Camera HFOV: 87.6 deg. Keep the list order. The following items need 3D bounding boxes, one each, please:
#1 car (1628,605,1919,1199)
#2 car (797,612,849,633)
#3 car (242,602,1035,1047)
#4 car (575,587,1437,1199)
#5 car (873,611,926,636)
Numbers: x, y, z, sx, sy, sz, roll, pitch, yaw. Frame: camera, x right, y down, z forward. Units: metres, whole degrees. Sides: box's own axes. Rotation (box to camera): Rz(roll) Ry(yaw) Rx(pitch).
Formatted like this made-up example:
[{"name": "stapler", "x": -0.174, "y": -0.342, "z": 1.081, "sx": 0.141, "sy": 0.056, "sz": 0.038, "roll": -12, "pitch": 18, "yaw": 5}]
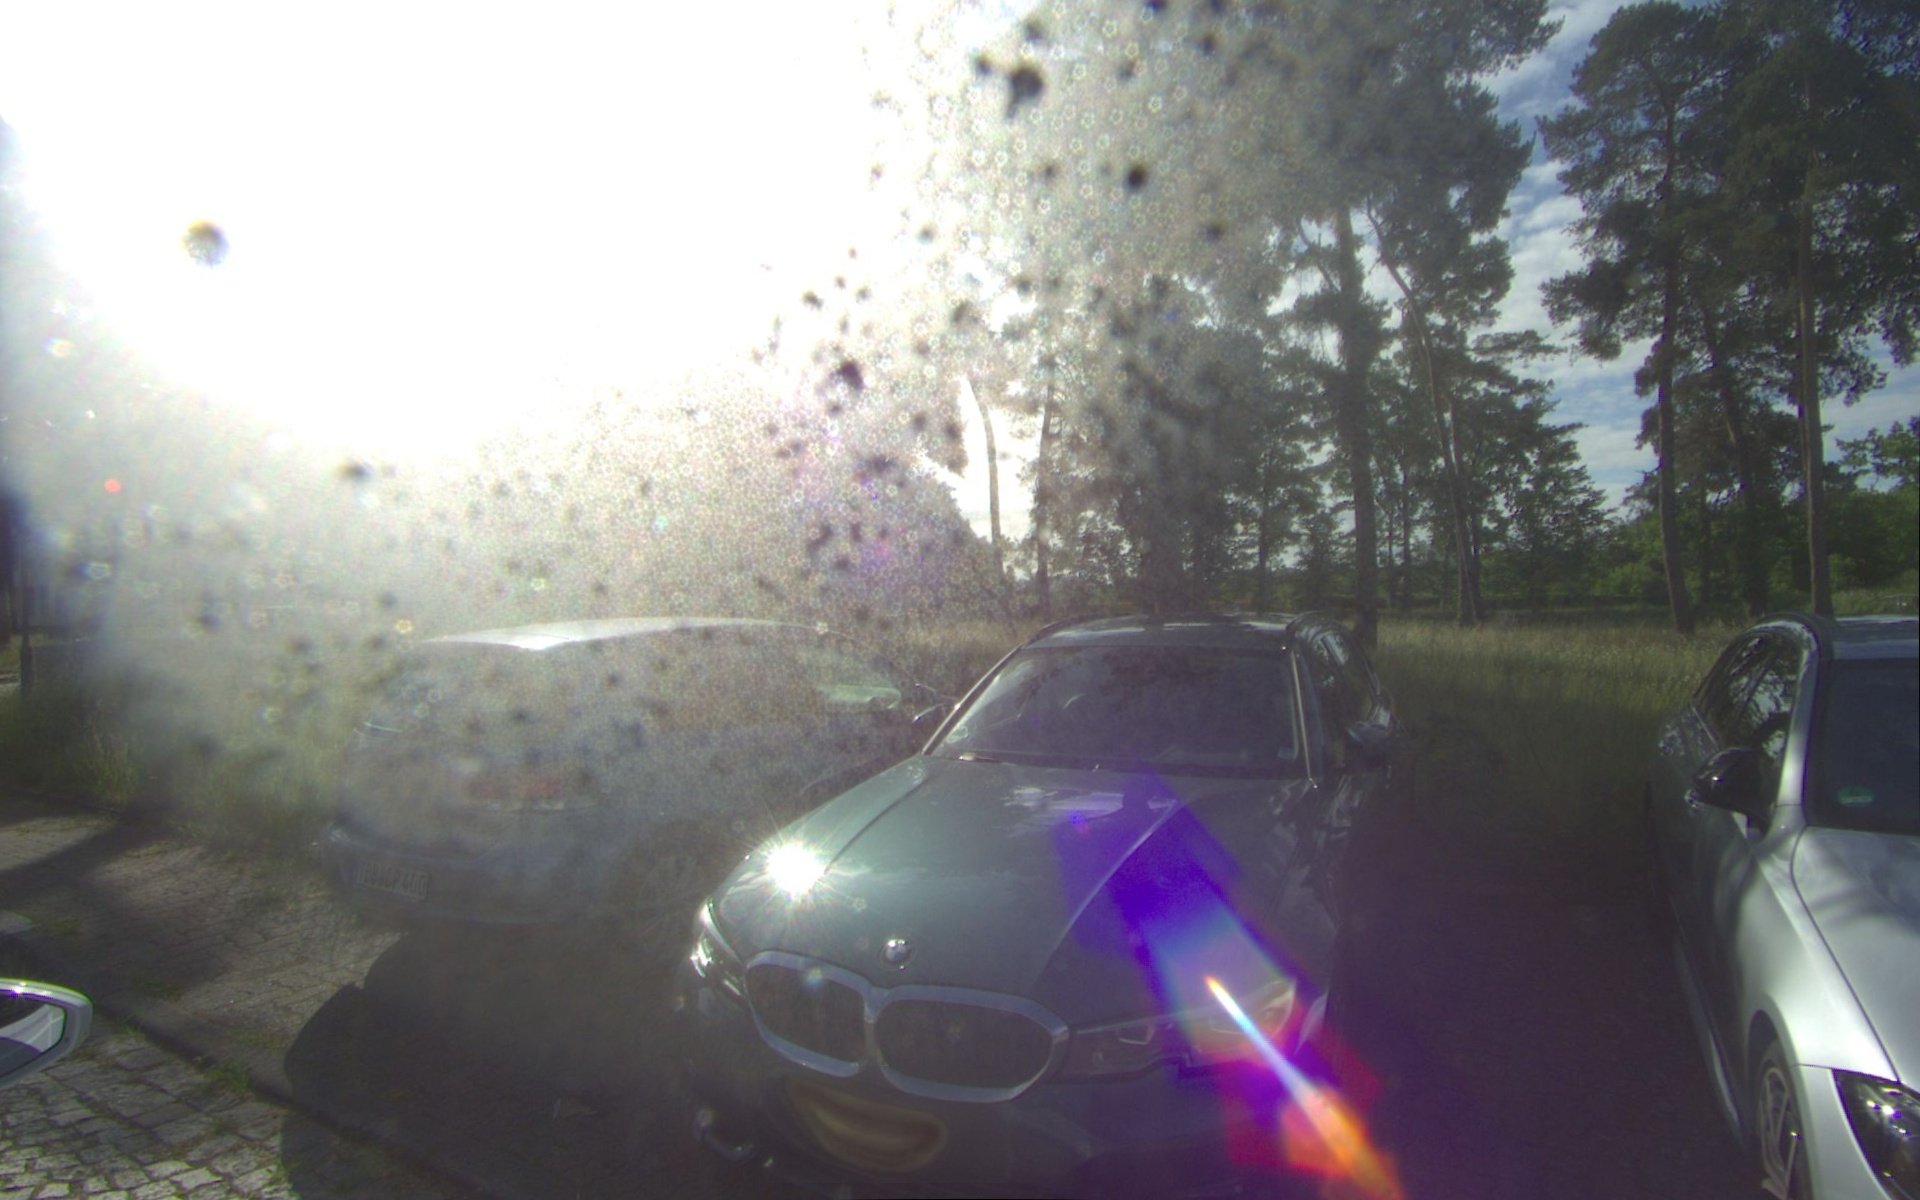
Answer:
[{"name": "car", "x": 3.089, "y": 0.782, "z": 2.764, "sx": 1.799, "sy": 1.421, "sz": 4.403, "roll": -1, "pitch": 1, "yaw": 30}, {"name": "car", "x": -9.920, "y": 1.641, "z": 72.800, "sx": 1.818, "sy": 1.483, "sz": 3.984, "roll": -1, "pitch": -1, "yaw": 28}, {"name": "car", "x": -1.305, "y": 0.782, "z": 5.605, "sx": 1.843, "sy": 1.480, "sz": 4.008, "roll": -1, "pitch": 0, "yaw": 31}, {"name": "car", "x": 0.865, "y": 0.739, "z": 4.125, "sx": 1.798, "sy": 1.537, "sz": 4.490, "roll": -1, "pitch": 1, "yaw": 28}, {"name": "car", "x": -4.102, "y": 1.556, "z": 68.162, "sx": 1.827, "sy": 1.619, "sz": 3.984, "roll": -1, "pitch": -1, "yaw": 28}]
